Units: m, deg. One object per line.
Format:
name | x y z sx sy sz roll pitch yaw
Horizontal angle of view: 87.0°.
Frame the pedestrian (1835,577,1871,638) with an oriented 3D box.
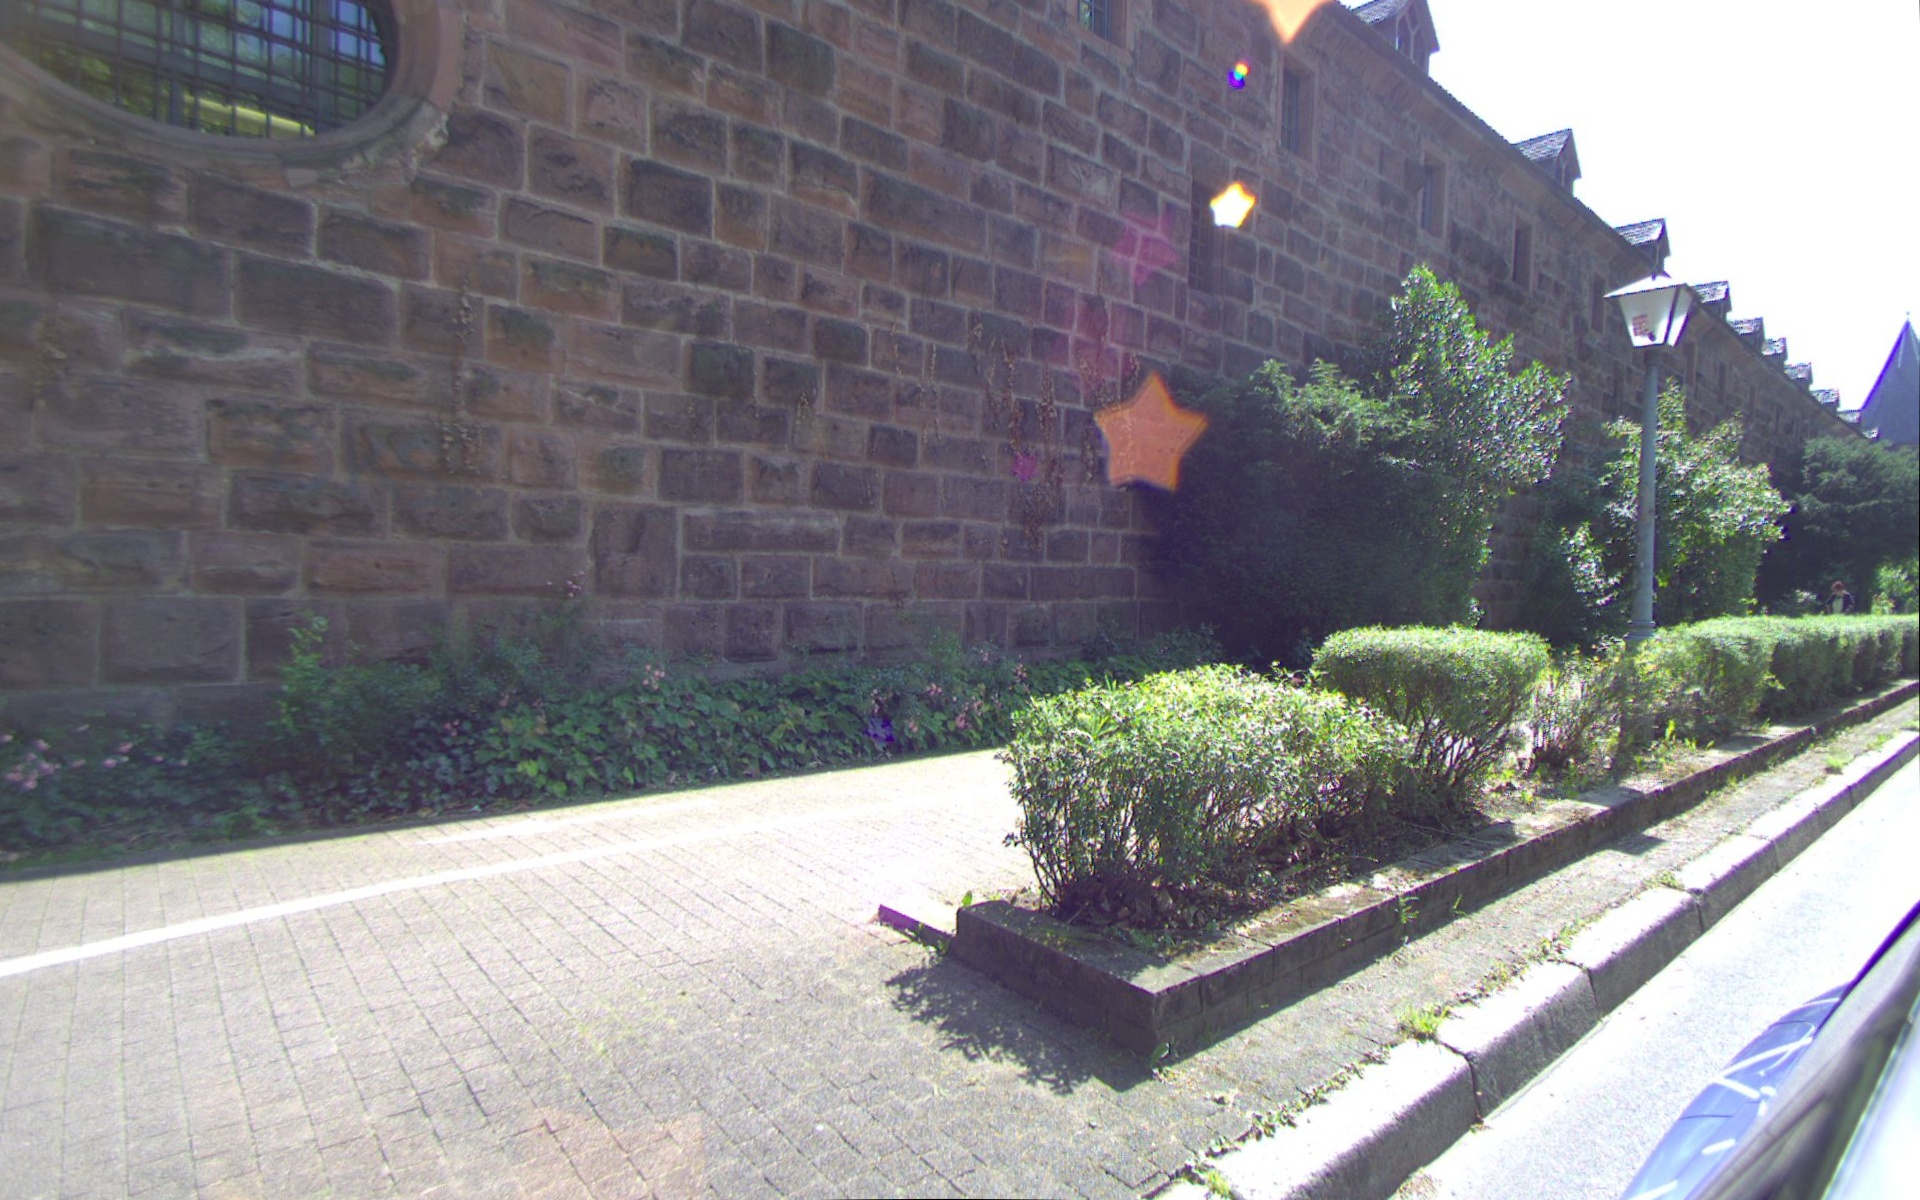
pedestrian | 23.520 0.190 26.656 0.554 1.583 0.642 0 0 -41
